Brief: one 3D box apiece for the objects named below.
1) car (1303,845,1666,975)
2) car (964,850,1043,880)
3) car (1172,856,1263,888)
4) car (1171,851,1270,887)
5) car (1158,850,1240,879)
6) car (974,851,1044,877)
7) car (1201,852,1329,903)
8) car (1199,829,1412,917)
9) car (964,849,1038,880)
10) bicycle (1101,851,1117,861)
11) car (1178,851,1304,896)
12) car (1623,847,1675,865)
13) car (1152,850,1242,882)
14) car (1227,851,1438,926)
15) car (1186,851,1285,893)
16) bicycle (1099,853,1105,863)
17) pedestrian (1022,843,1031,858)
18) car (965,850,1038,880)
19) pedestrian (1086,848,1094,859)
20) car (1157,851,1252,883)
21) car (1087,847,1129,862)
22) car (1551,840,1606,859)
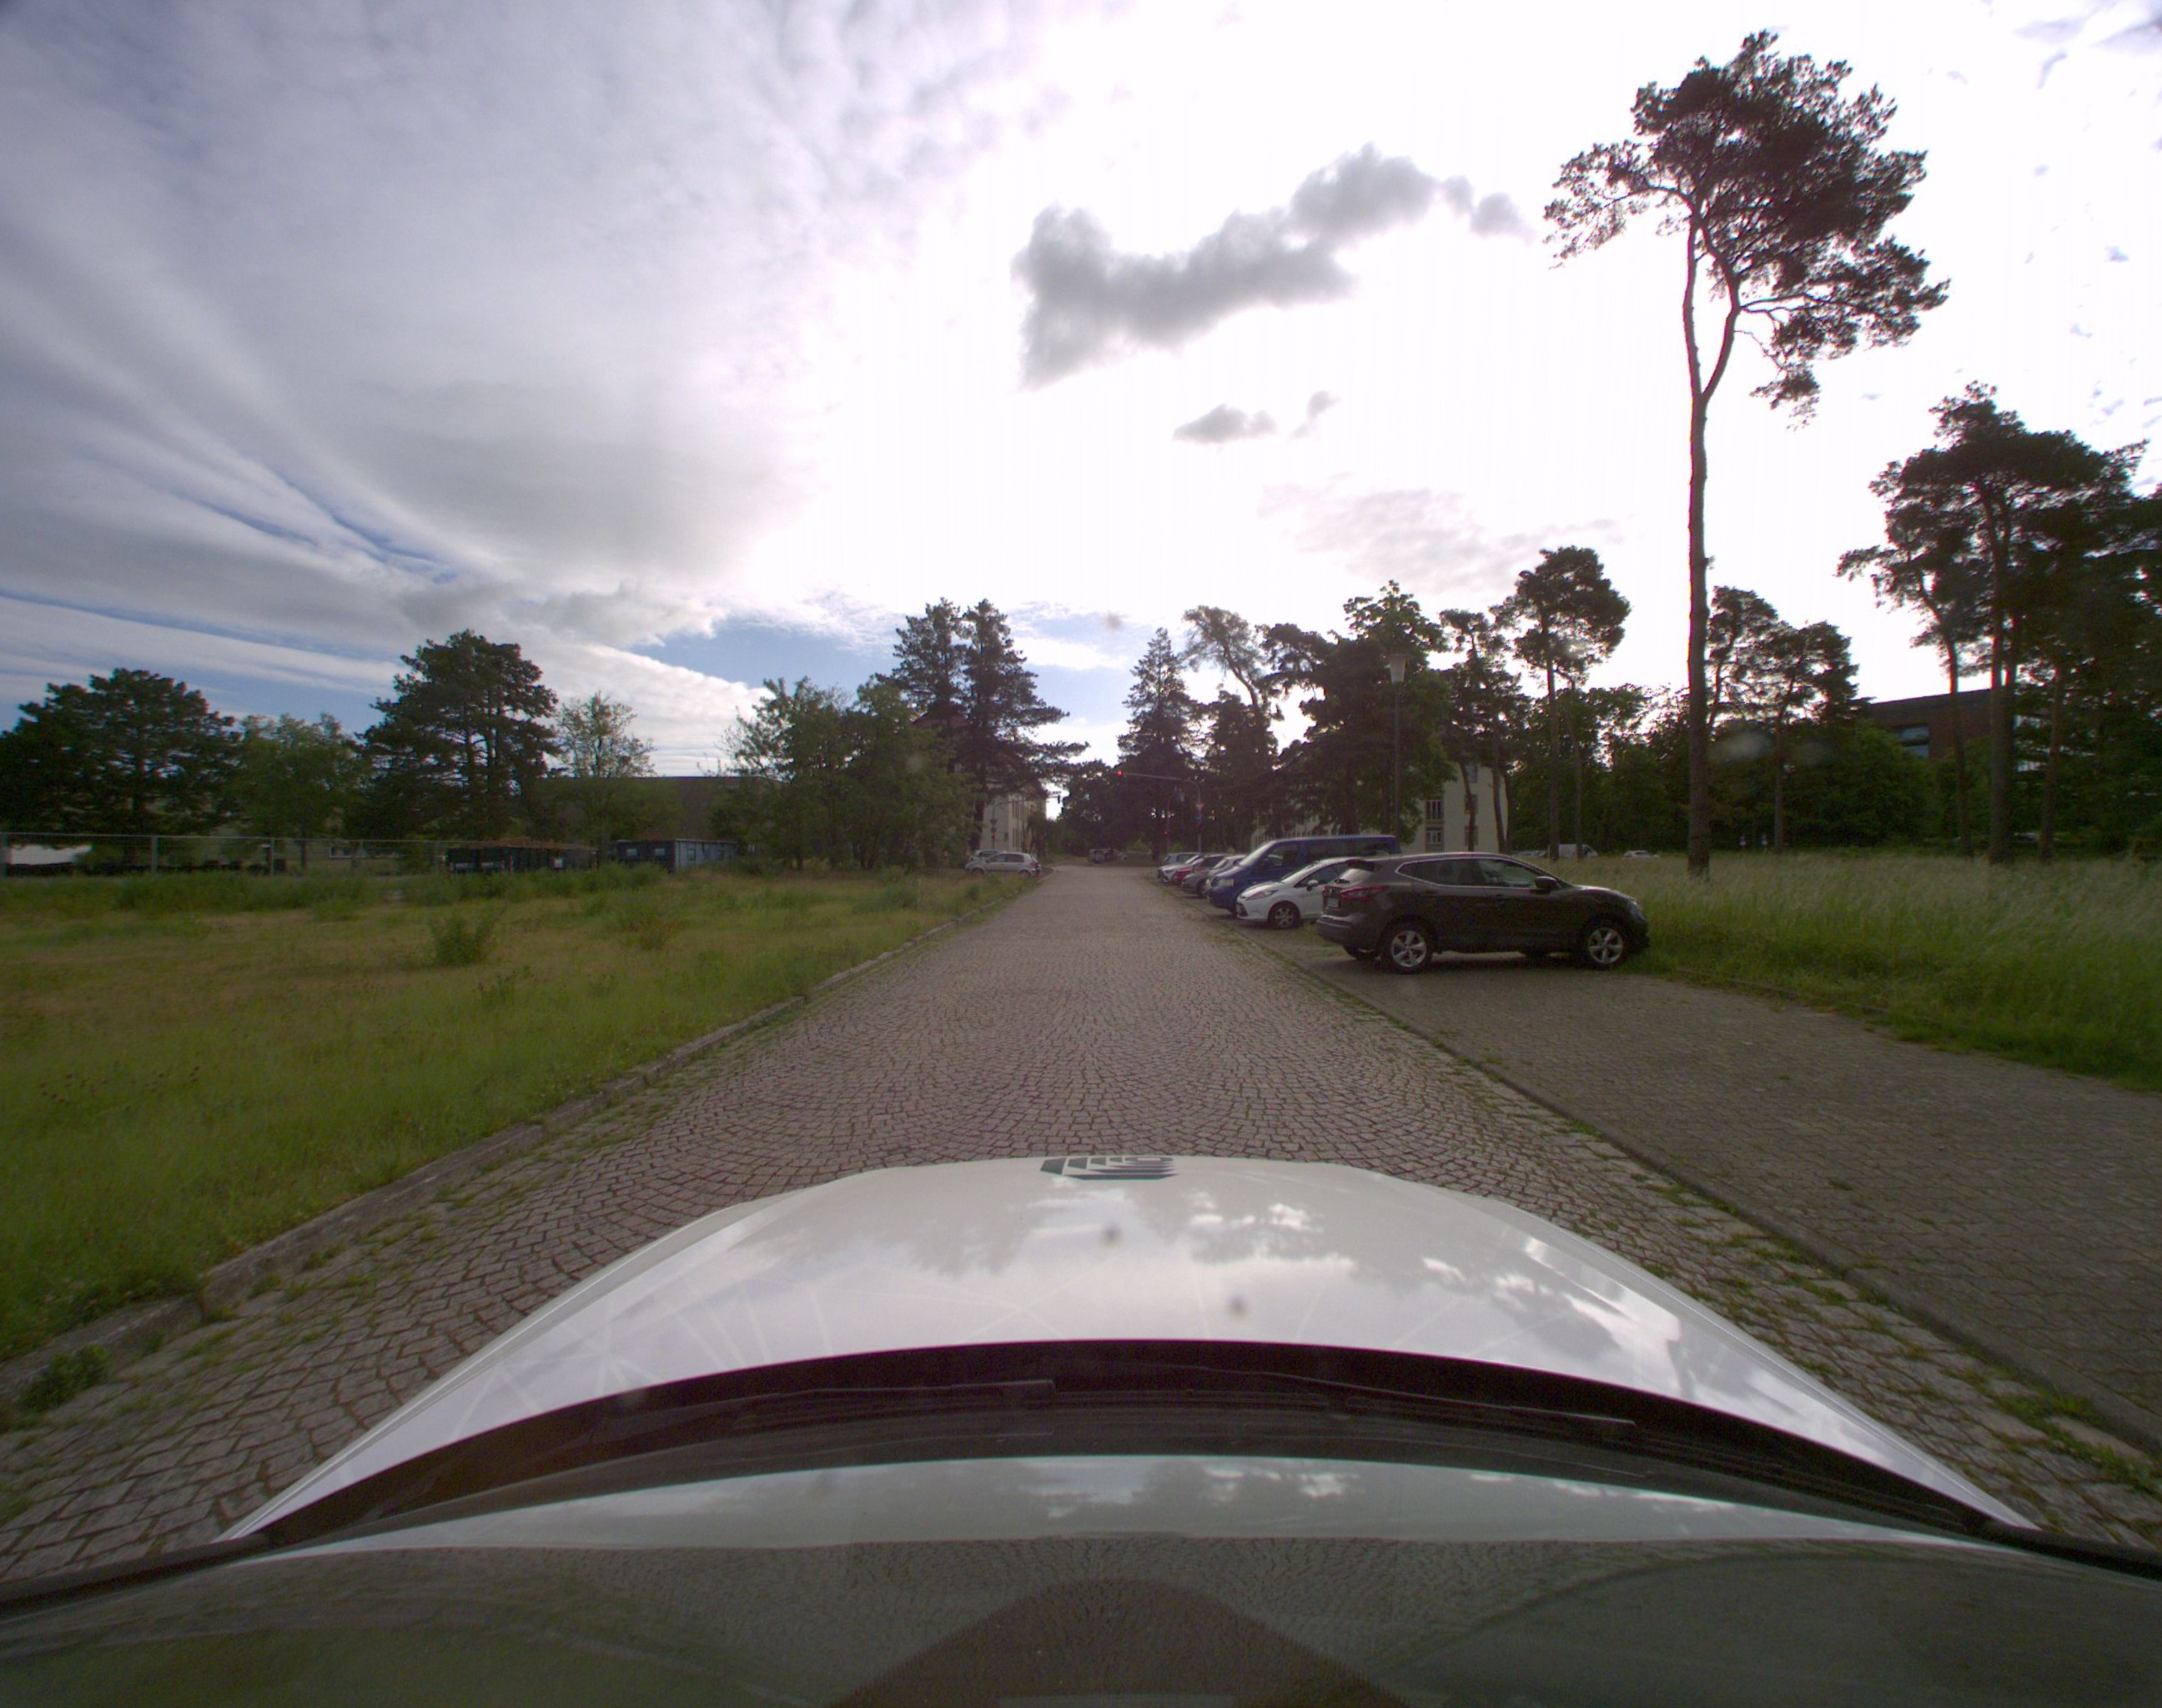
[{"bbox_3d":[5.502,0.710,11.515,4.192,1.595,1.952,-1,0,-2],"label":"car"},{"bbox_3d":[-4.351,0.610,45.898,4.291,1.554,1.809,-1,0,-5],"label":"car"},{"bbox_3d":[5.654,0.743,34.126,3.573,1.223,1.629,-1,0,2],"label":"car"},{"bbox_3d":[6.202,0.637,36.465,4.093,1.476,1.684,-1,0,-1],"label":"car"},{"bbox_3d":[6.370,0.536,44.147,4.128,1.463,1.631,-1,0,-5],"label":"car"},{"bbox_3d":[-4.488,0.616,51.160,4.291,1.554,1.809,-1,0,-5],"label":"car"},{"bbox_3d":[5.742,0.710,25.726,3.641,1.478,1.766,-1,0,0],"label":"car"},{"bbox_3d":[5.500,0.448,20.418,4.781,2.004,1.965,-1,0,-1],"label":"car"},{"bbox_3d":[-4.726,0.581,48.707,4.290,1.732,1.650,-1,0,-5],"label":"car"},{"bbox_3d":[3.414,0.293,99.795,1.878,1.171,0.664,1,0,-5],"label":"bicycle"},{"bbox_3d":[5.564,0.678,28.633,4.115,1.447,1.766,-1,0,1],"label":"car"},{"bbox_3d":[60.041,0.206,86.072,4.116,1.804,1.901,1,0,3],"label":"car"},{"bbox_3d":[5.915,0.597,41.597,4.229,1.479,1.704,-1,0,-10],"label":"car"},{"bbox_3d":[5.427,0.707,17.874,4.087,1.478,1.720,-1,0,-2],"label":"car"},{"bbox_3d":[5.924,0.665,31.498,3.493,1.487,1.743,-1,0,0],"label":"car"},{"bbox_3d":[2.395,0.431,91.670,0.660,1.171,1.888,1,0,1],"label":"bicycle"},{"bbox_3d":[-7.280,-0.459,108.891,1.070,1.959,1.121,1,0,1],"label":"pedestrian"},{"bbox_3d":[-4.178,0.564,43.300,3.711,1.481,1.672,2,0,-2],"label":"car"},{"bbox_3d":[1.493,-0.044,141.088,1.237,1.959,1.120,1,0,-4],"label":"pedestrian"},{"bbox_3d":[5.839,0.598,38.830,4.180,1.437,1.751,-1,0,-7],"label":"car"},{"bbox_3d":[3.717,0.049,111.102,5.379,2.101,2.170,0,0,-12],"label":"car"},{"bbox_3d":[59.101,-0.526,96.814,5.280,2.019,2.106,1,0,1],"label":"car"}]
